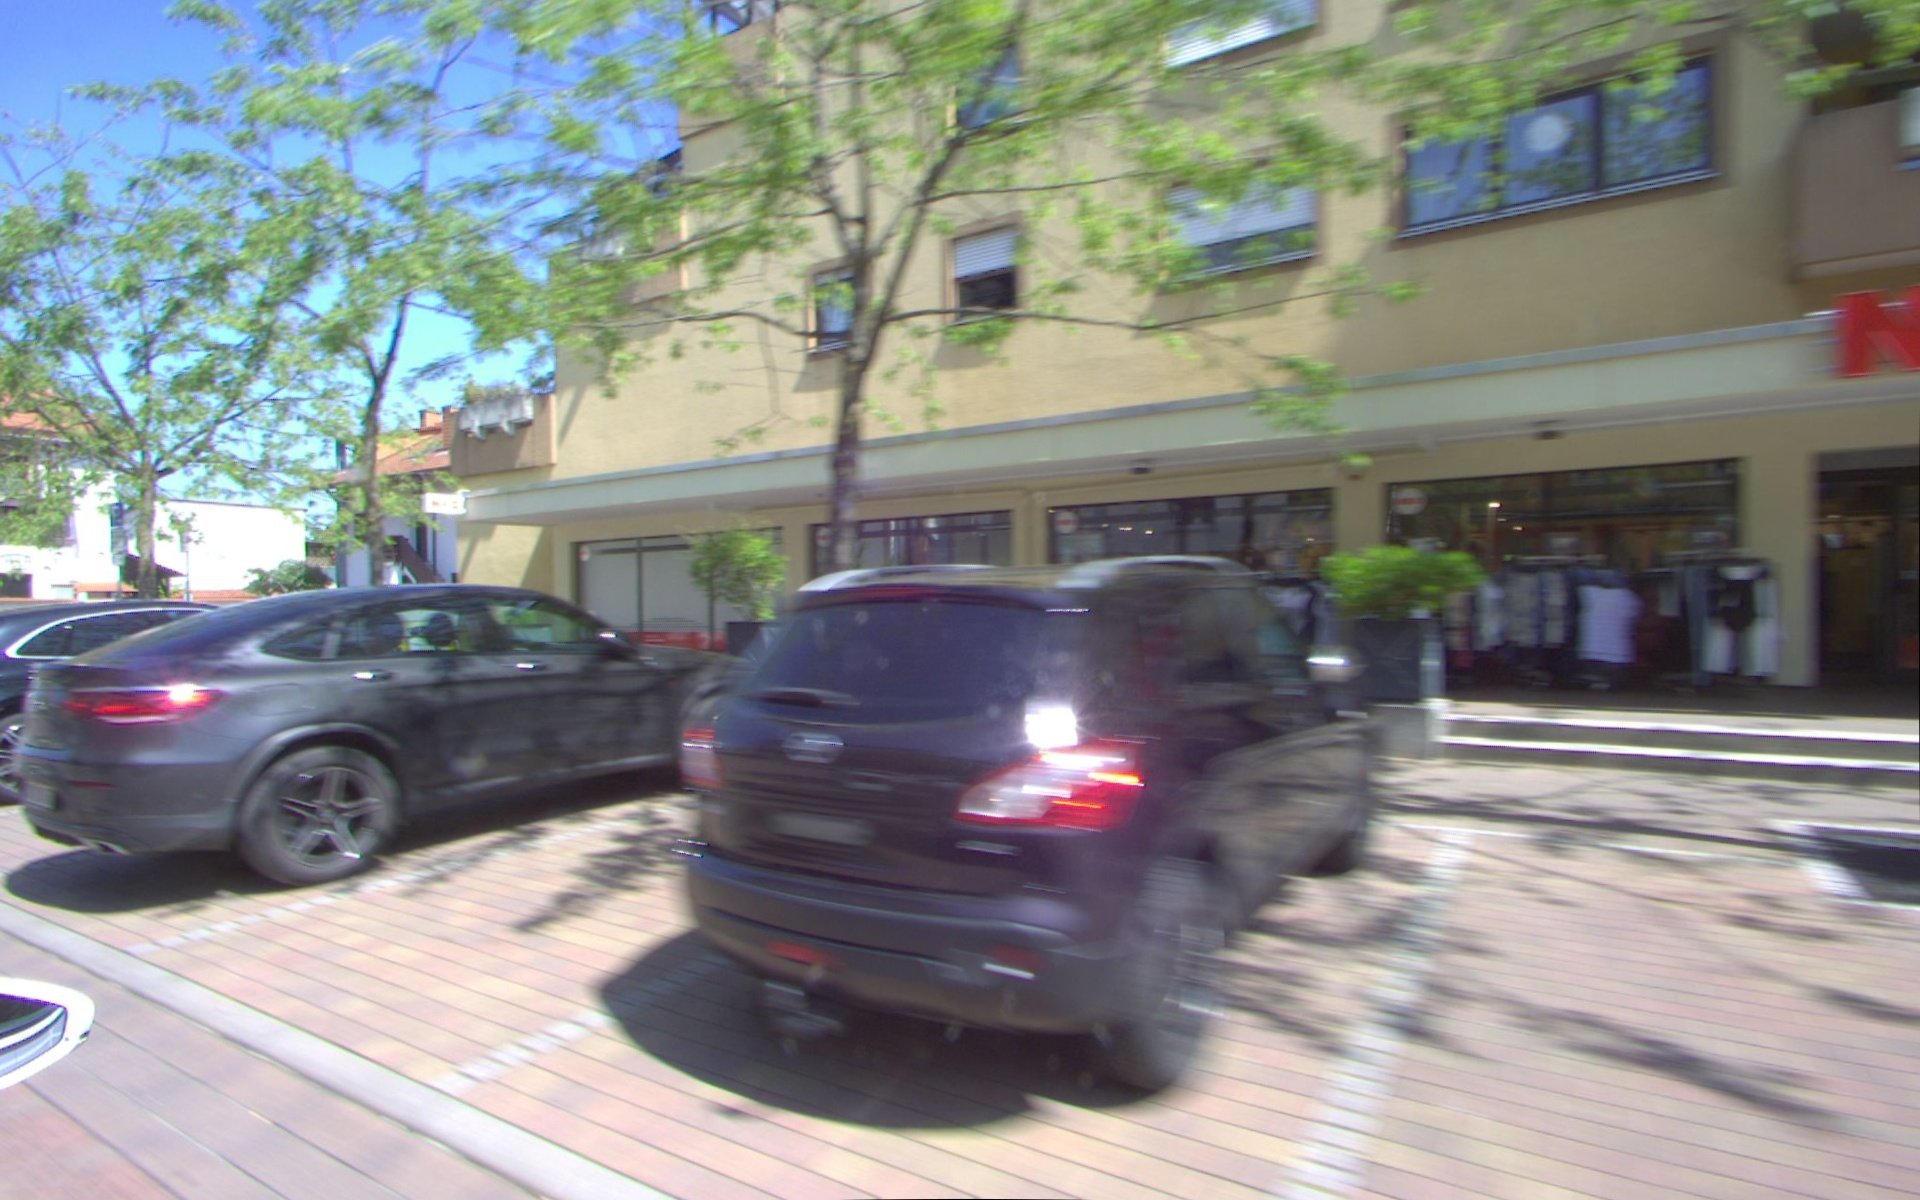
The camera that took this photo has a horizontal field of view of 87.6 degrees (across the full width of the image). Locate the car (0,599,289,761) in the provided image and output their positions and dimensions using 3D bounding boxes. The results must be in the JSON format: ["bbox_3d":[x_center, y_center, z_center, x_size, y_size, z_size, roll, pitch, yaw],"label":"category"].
[{"bbox_3d":[-10.115,0.842,11.174,1.797,1.555,3.935,-1,1,31],"label":"car"}]

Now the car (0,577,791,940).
[{"bbox_3d":[-3.405,0.673,6.818,1.825,1.610,4.494,0,1,34],"label":"car"}]

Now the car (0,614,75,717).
[{"bbox_3d":[-16.251,1.012,14.803,1.761,1.596,4.436,-1,-1,29],"label":"car"}]

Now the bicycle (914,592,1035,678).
[{"bbox_3d":[0.187,0.490,13.998,1.750,1.138,0.411,-1,-1,34],"label":"bicycle"}]

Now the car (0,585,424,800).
[{"bbox_3d":[-7.816,0.729,9.647,1.970,1.703,4.273,-1,1,29],"label":"car"}]

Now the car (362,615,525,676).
[{"bbox_3d":[-13.922,1.167,27.149,1.631,1.471,3.607,0,0,32],"label":"car"}]

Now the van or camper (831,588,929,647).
[{"bbox_3d":[-3.521,0.752,44.851,2.039,2.511,4.649,-1,0,32],"label":"van or camper"}]

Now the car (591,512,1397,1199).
[{"bbox_3d":[0.654,0.580,4.358,1.658,1.634,4.016,-1,1,33],"label":"car"}]
